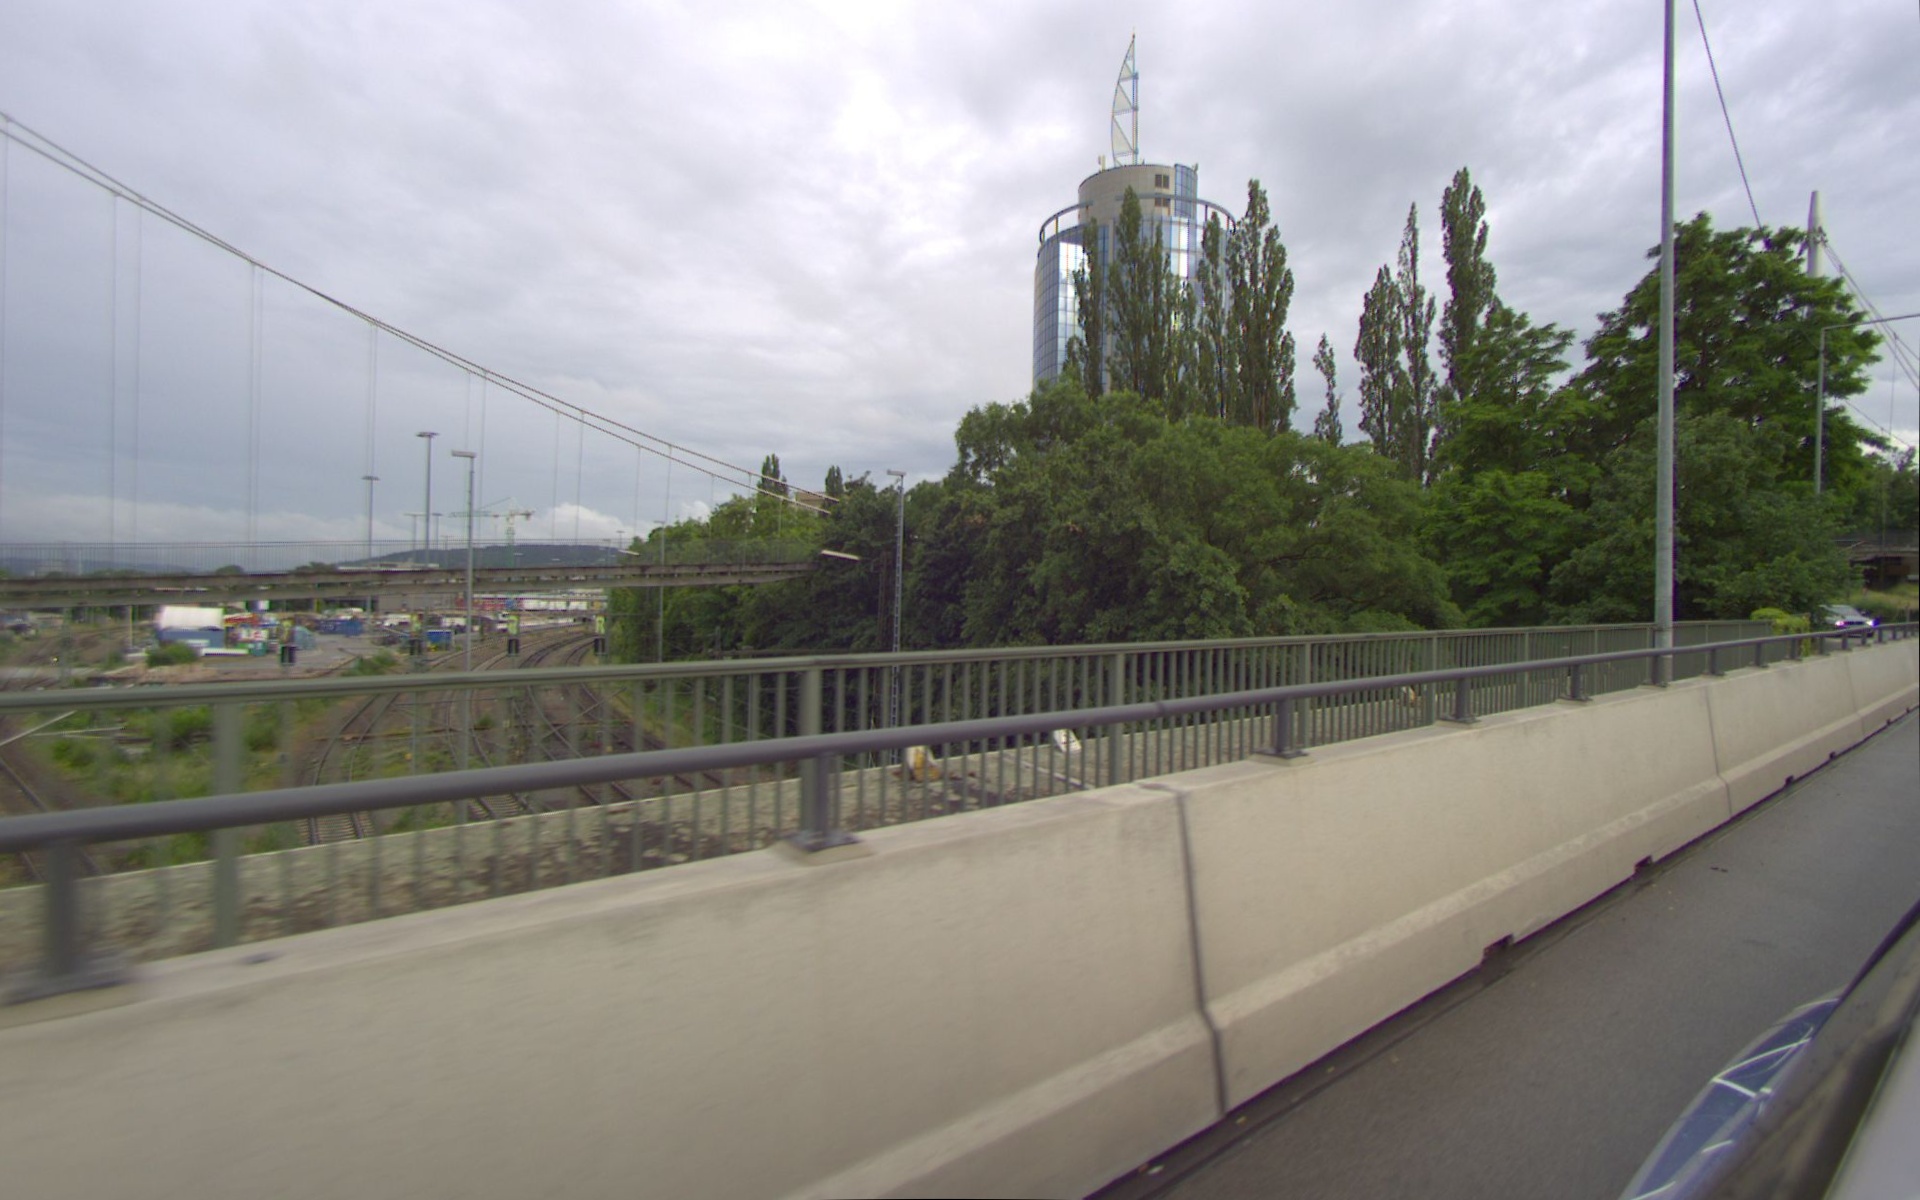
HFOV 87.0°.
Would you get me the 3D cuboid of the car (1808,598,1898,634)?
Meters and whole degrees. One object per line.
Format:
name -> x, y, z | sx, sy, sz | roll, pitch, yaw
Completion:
car -> 40.481, 0.701, 45.983 | 1.748, 1.520, 3.972 | 0, 1, 21
